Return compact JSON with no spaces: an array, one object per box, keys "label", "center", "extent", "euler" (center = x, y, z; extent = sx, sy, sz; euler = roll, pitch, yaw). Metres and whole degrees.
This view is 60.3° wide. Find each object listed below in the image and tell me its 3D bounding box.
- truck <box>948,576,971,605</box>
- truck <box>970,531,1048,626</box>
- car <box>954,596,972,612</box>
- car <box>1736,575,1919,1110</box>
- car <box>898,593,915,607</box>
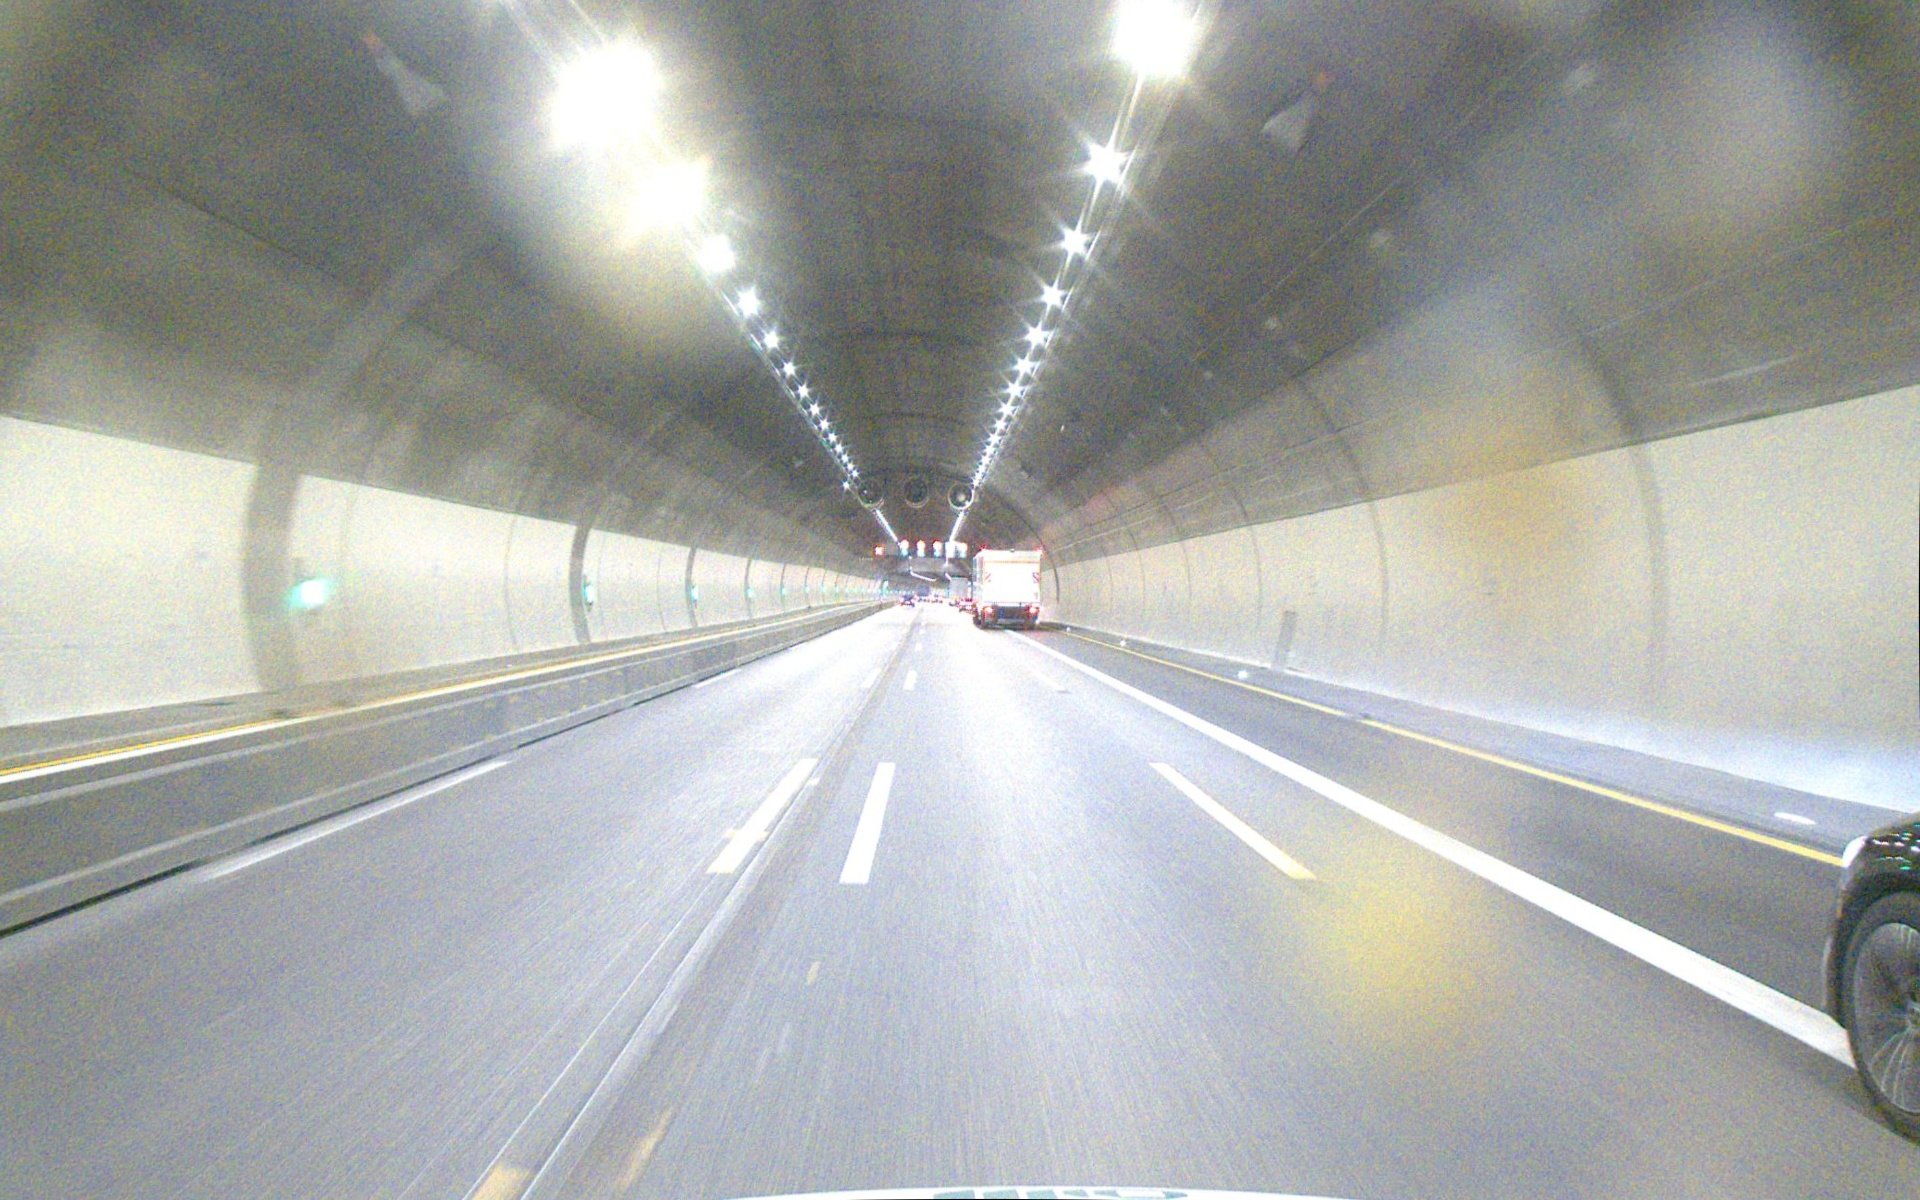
[{"label":"truck","center":[-0.033,-1.323,238.646],"extent":[3.003,3.986,10.368],"euler":[2,-1,1]},{"label":"truck","center":[2.122,-0.872,76.002],"extent":[3.029,3.986,10.365],"euler":[2,-1,-1]},{"label":"car","center":[0.330,0.399,164.837],"extent":[1.704,1.486,3.961],"euler":[2,1,1]},{"label":"car","center":[3.661,0.706,3.243],"extent":[1.886,1.498,4.953],"euler":[2,0,-1]},{"label":"car","center":[-5.811,0.004,181.506],"extent":[1.723,1.486,4.118],"euler":[2,1,0]}]
